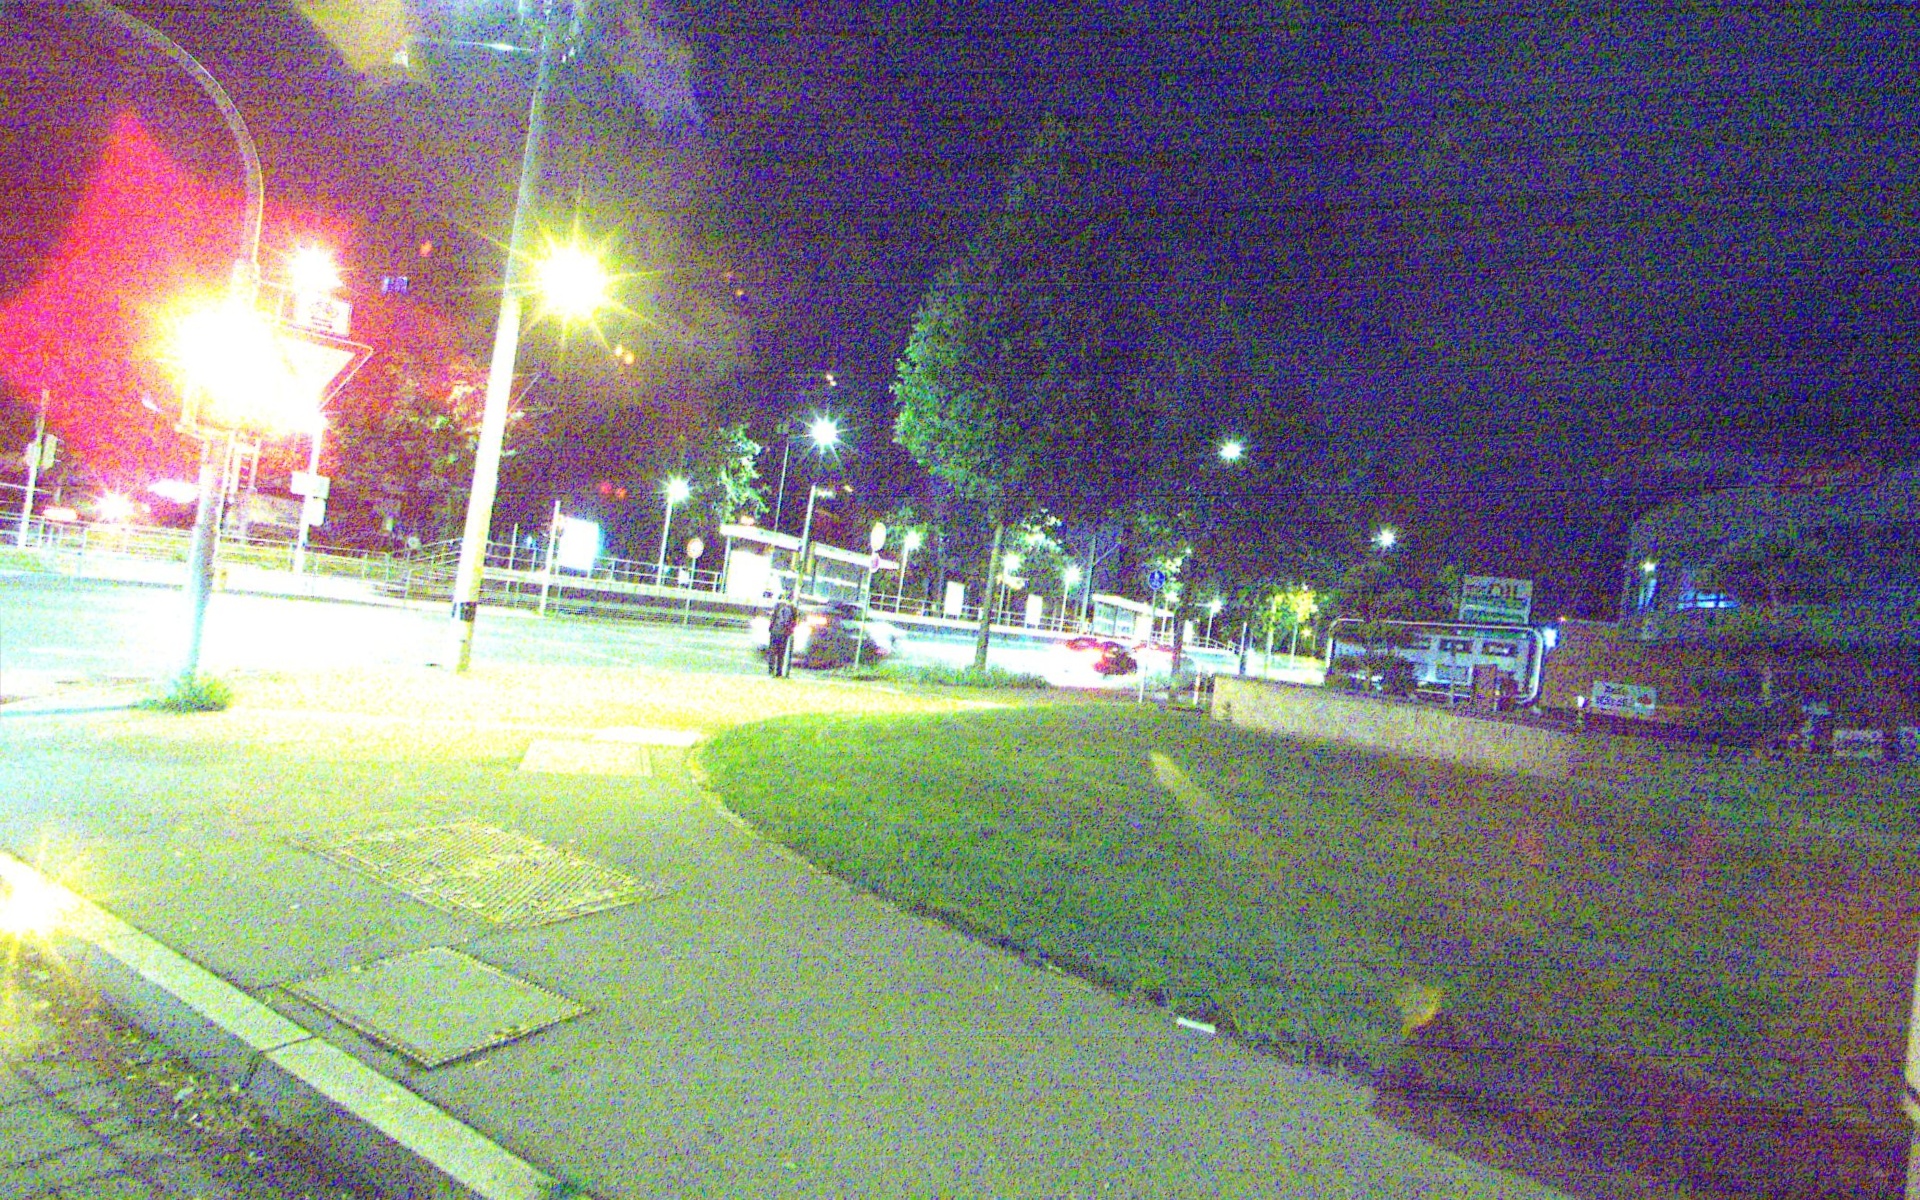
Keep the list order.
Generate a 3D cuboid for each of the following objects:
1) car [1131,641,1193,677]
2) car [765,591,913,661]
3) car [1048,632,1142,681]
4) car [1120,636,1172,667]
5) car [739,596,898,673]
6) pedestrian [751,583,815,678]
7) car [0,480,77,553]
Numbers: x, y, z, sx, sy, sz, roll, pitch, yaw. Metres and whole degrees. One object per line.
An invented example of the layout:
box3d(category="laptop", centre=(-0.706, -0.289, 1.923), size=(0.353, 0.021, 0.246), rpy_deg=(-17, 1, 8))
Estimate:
box3d(category="car", centre=(10.592, 3.095, 52.544), size=(1.762, 1.481, 3.994), rpy_deg=(6, -2, 33))
box3d(category="car", centre=(-3.613, 0.844, 30.843), size=(1.784, 1.584, 4.514), rpy_deg=(10, 0, 35))
box3d(category="car", centre=(5.310, 2.215, 39.090), size=(1.833, 1.510, 4.477), rpy_deg=(8, 0, 31))
box3d(category="car", centre=(10.942, 3.036, 59.017), size=(1.719, 1.605, 3.993), rpy_deg=(6, -1, 29))
box3d(category="car", centre=(-3.468, 0.909, 25.308), size=(1.660, 1.525, 3.833), rpy_deg=(9, 0, 34))
box3d(category="pedestrian", centre=(-3.445, 0.600, 19.628), size=(0.820, 1.767, 0.755), rpy_deg=(4, 0, 31))
box3d(category="car", centre=(-27.211, -2.519, 27.173), size=(1.969, 1.748, 4.622), rpy_deg=(6, -2, 35))
